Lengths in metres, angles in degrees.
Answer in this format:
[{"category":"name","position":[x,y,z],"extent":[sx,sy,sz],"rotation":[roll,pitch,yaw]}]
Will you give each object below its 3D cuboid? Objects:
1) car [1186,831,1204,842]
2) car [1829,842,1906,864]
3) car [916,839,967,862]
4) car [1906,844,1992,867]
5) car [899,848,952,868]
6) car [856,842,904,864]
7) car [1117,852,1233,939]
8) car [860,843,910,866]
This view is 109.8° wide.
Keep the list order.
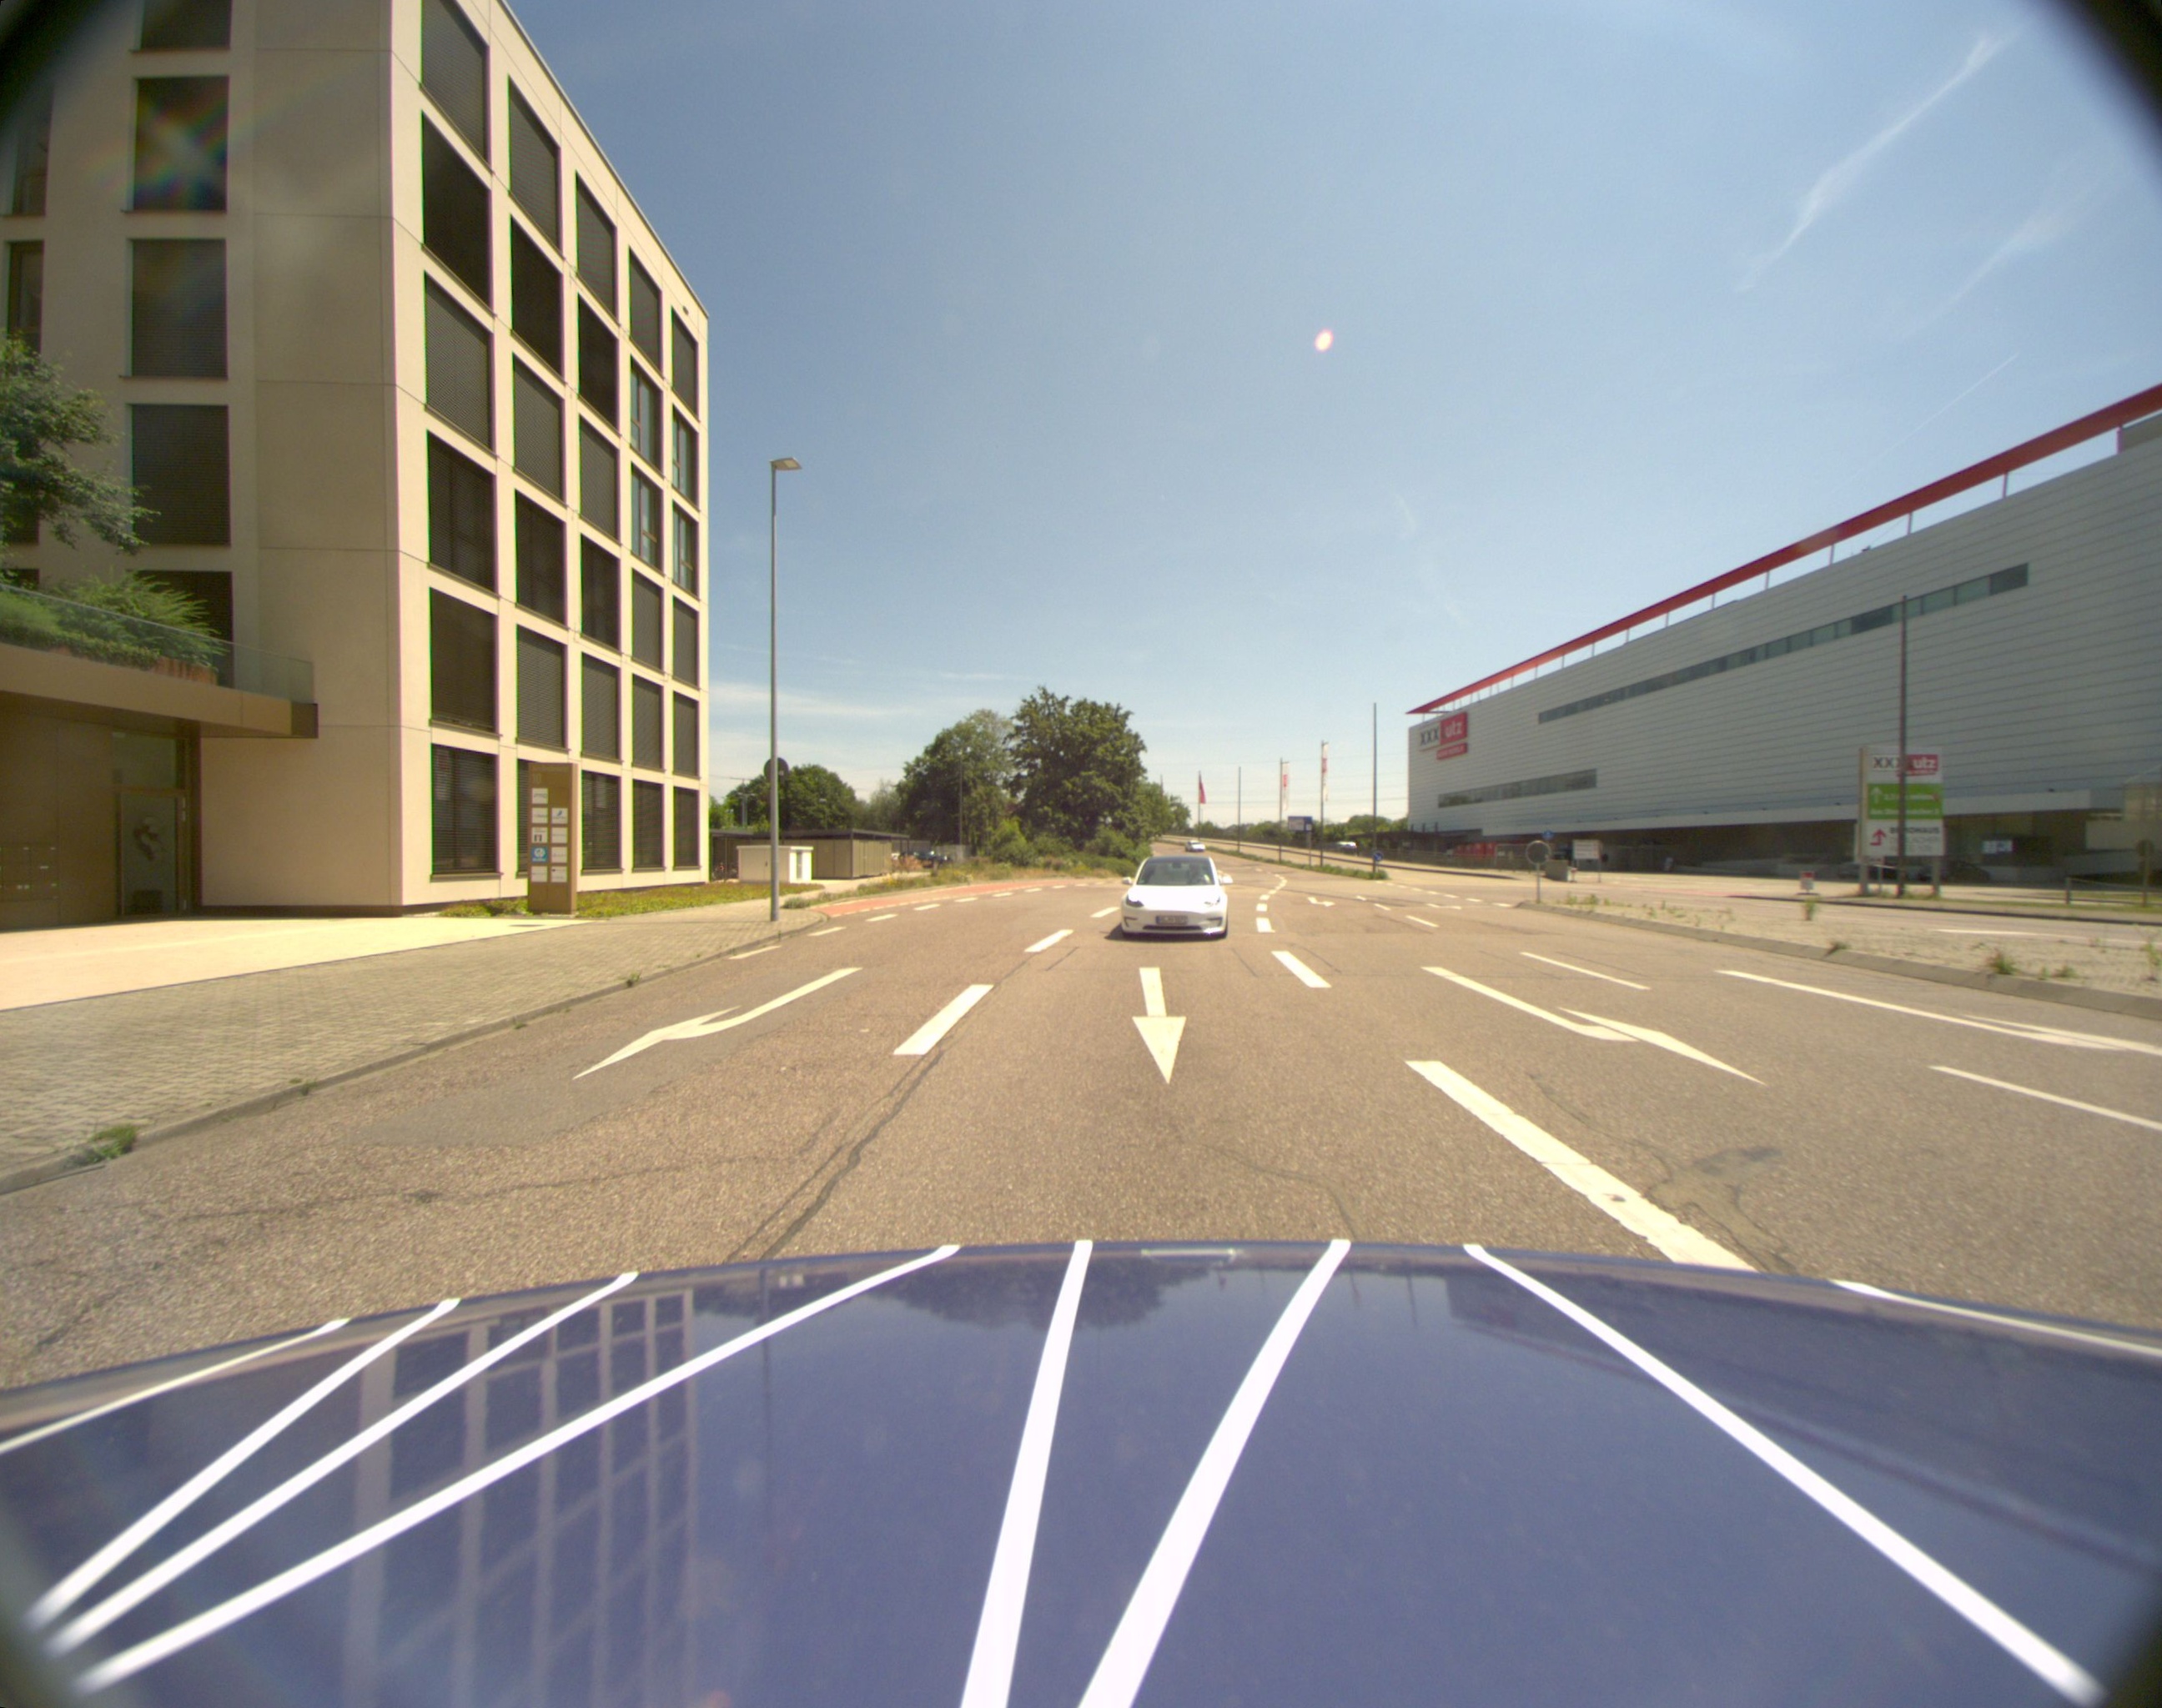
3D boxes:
[{"category":"car","position":[15.863,-2.406,105.838],"extent":[1.735,1.442,4.228],"rotation":[-3,2,-3]},{"category":"car","position":[58.086,-0.084,56.165],"extent":[3.747,1.610,1.911],"rotation":[0,1,-2]},{"category":"car","position":[-12.349,-0.293,67.386],"extent":[4.006,1.942,1.995],"rotation":[0,1,-27]},{"category":"car","position":[58.334,0.080,51.114],"extent":[3.483,1.487,1.959],"rotation":[0,1,0]},{"category":"car","position":[-12.944,0.297,63.226],"extent":[4.005,1.652,1.834],"rotation":[0,1,-26]},{"category":"car","position":[-18.723,-0.122,70.786],"extent":[4.006,2.002,1.995],"rotation":[0,1,-27]},{"category":"car","position":[1.827,0.679,14.697],"extent":[1.879,1.417,4.409],"rotation":[-1,0,8]},{"category":"car","position":[-17.609,0.037,68.270],"extent":[4.006,2.002,1.995],"rotation":[0,1,-27]}]
